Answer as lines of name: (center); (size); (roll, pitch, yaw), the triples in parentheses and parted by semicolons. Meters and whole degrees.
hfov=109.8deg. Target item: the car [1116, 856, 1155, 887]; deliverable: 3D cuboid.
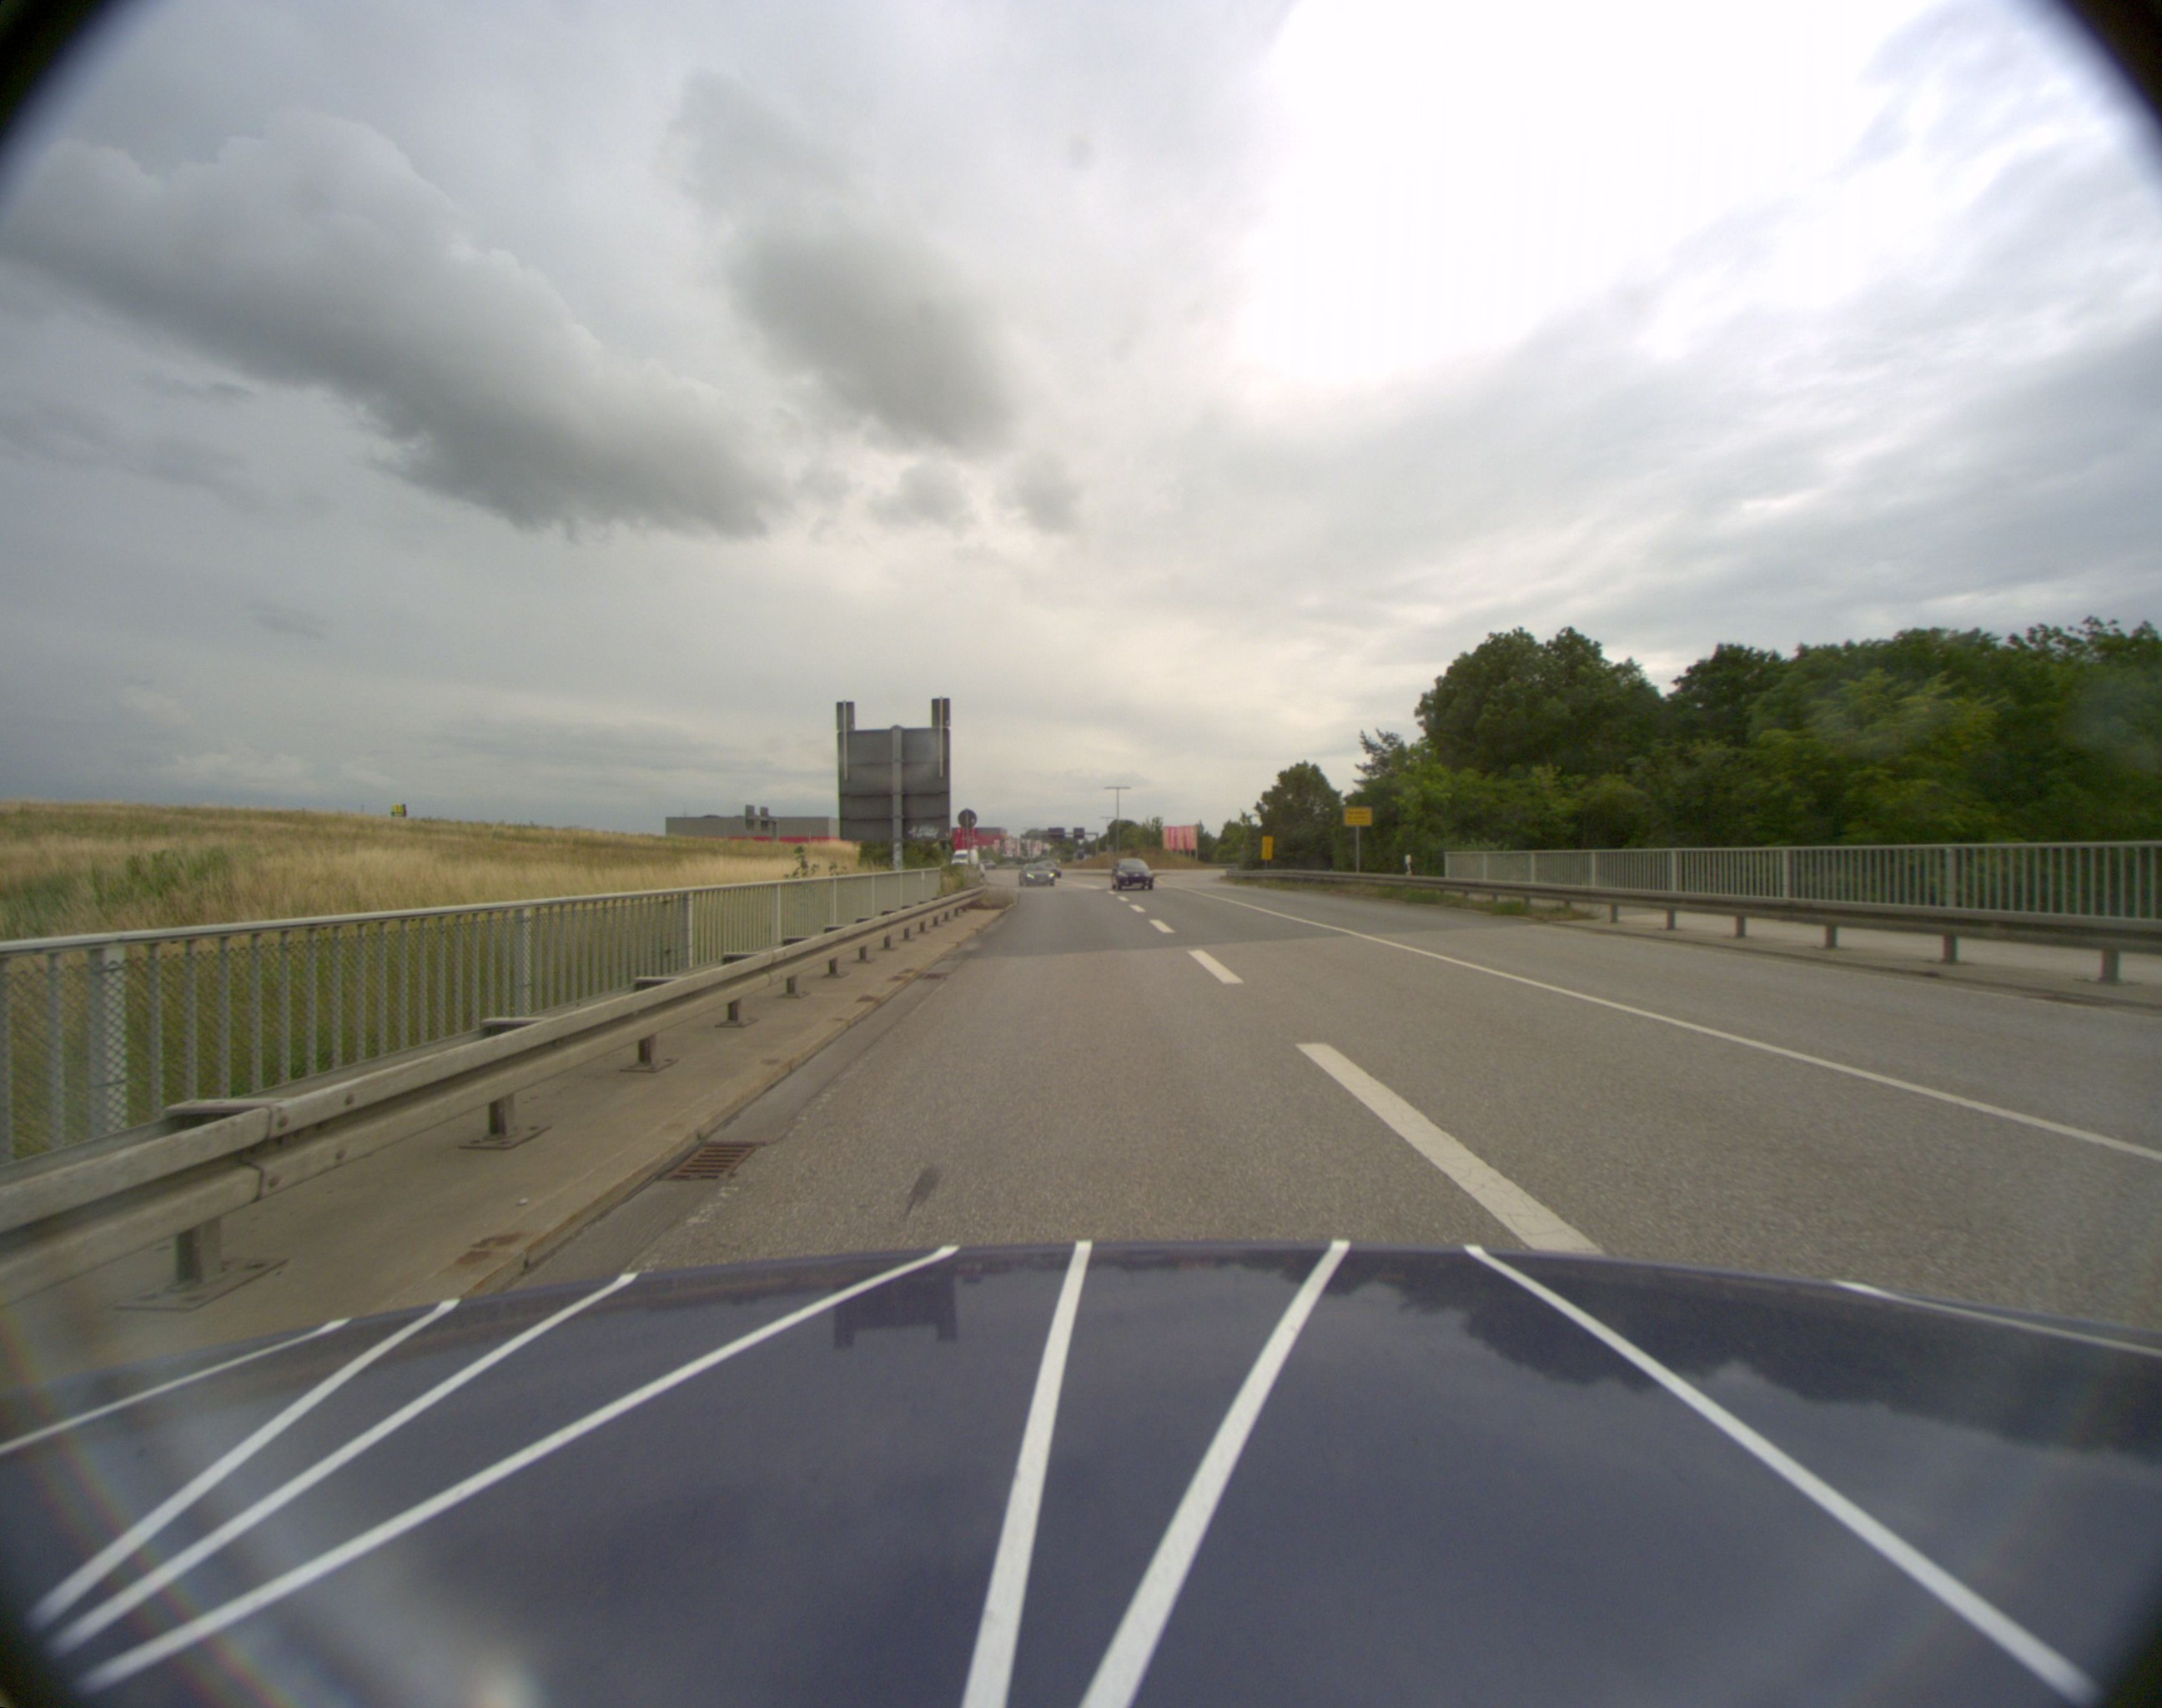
car: (2.577, 0.803, 36.863); (1.580, 1.346, 3.823); (-2, 0, 0)

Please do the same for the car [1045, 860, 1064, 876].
car: (-2.348, 1.199, 67.165); (1.579, 1.261, 3.313); (-1, 1, -1)

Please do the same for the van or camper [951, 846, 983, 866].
van or camper: (-14.078, 0.219, 94.399); (2.050, 2.350, 5.545); (-1, 1, 12)

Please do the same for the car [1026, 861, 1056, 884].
car: (-2.586, 1.192, 49.277); (1.765, 1.411, 4.091); (-2, -1, -3)
